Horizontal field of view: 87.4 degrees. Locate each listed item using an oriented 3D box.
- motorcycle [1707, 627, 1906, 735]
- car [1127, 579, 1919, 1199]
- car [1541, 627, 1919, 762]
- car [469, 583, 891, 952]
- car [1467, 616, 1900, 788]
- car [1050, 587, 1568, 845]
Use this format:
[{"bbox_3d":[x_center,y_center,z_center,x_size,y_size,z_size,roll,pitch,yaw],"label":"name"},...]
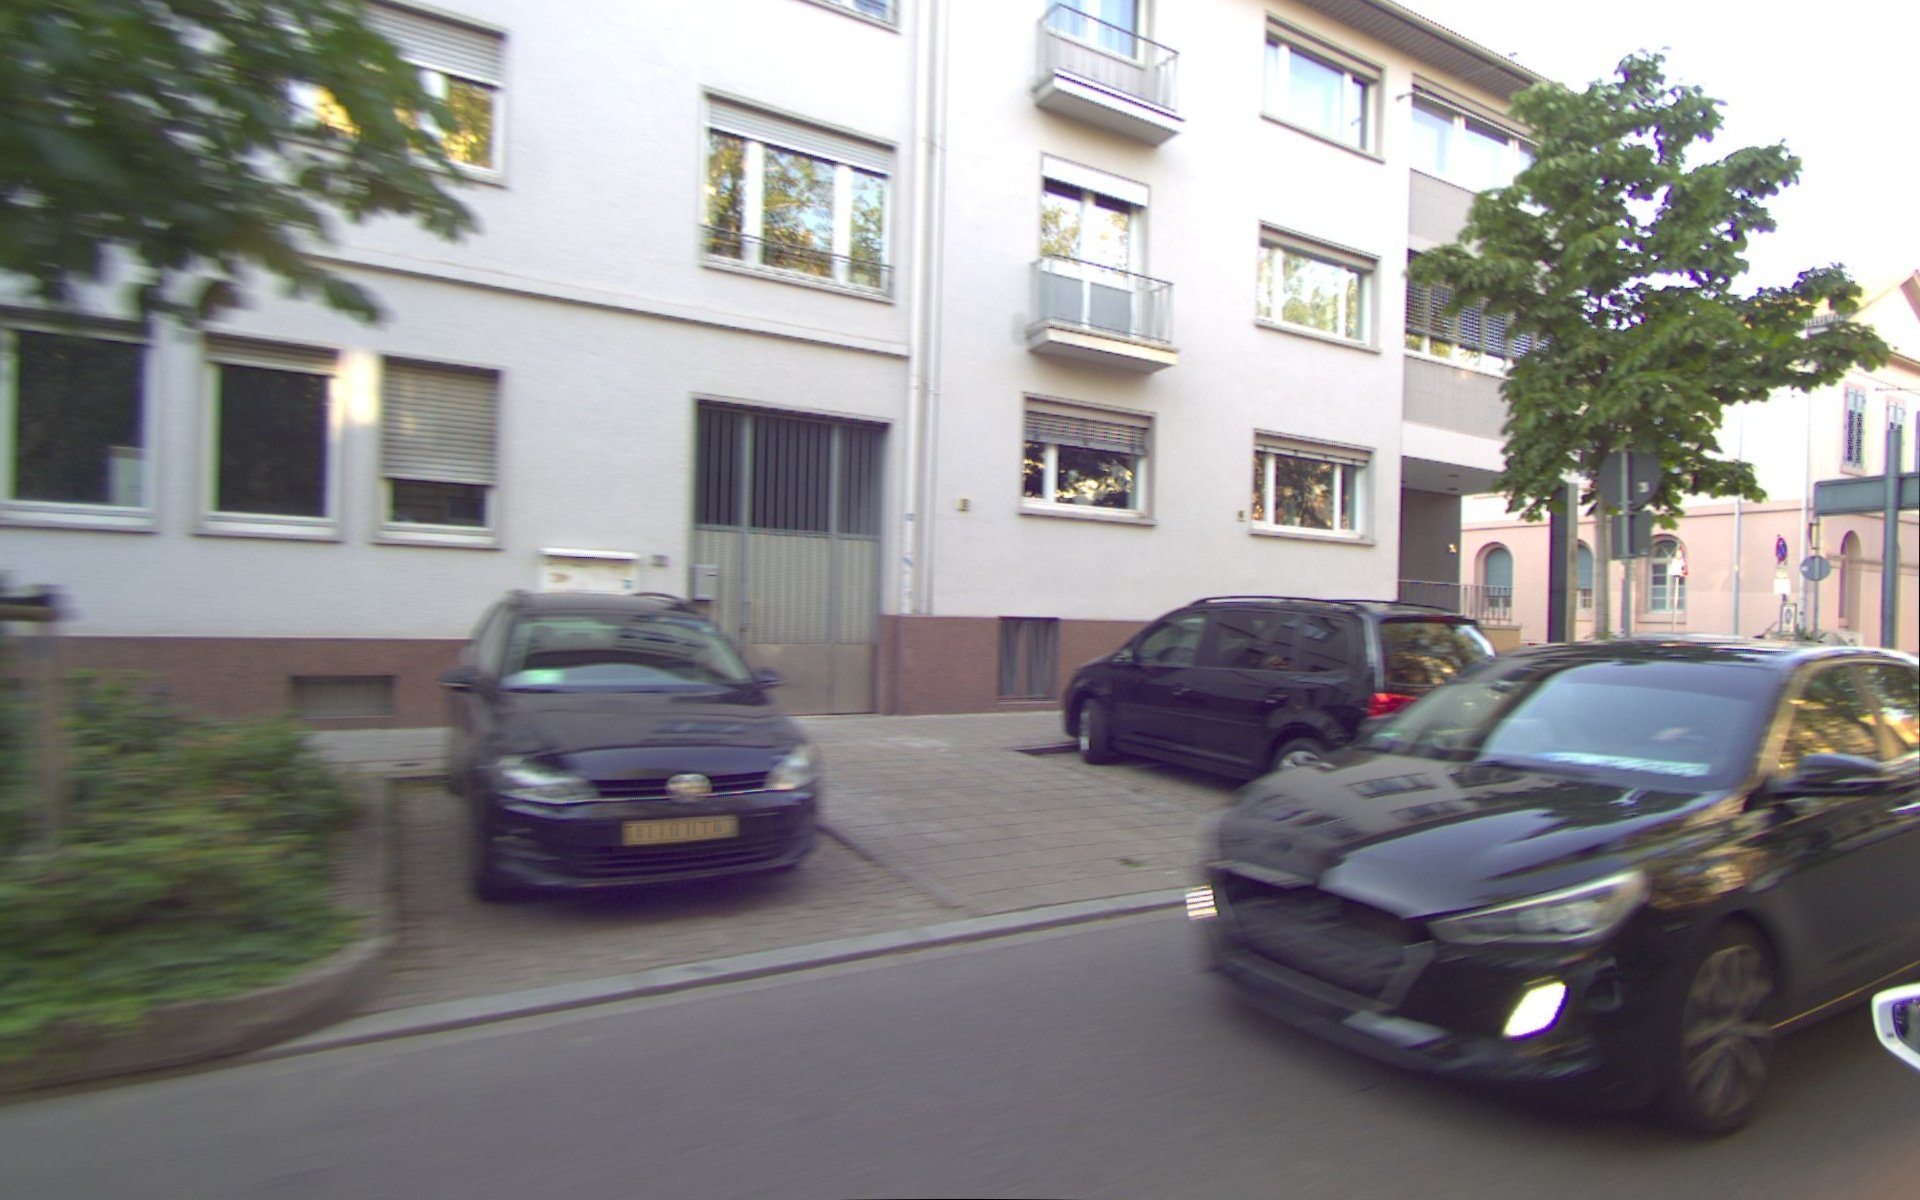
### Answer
[{"bbox_3d":[12.401,1.139,14.826,0.950,1.438,2.152,2,-1,-8],"label":"motorcycle"},{"bbox_3d":[2.975,0.802,4.379,4.224,1.569,1.868,2,-1,-30],"label":"car"},{"bbox_3d":[10.281,1.160,13.647,1.819,1.329,3.728,2,1,-25],"label":"car"},{"bbox_3d":[-2.071,0.693,6.384,1.733,1.459,4.058,2,1,-28],"label":"car"},{"bbox_3d":[8.247,1.043,11.806,1.715,1.478,3.723,2,1,-30],"label":"car"},{"bbox_3d":[2.724,0.767,8.838,1.912,1.654,4.076,2,0,-28],"label":"car"}]
